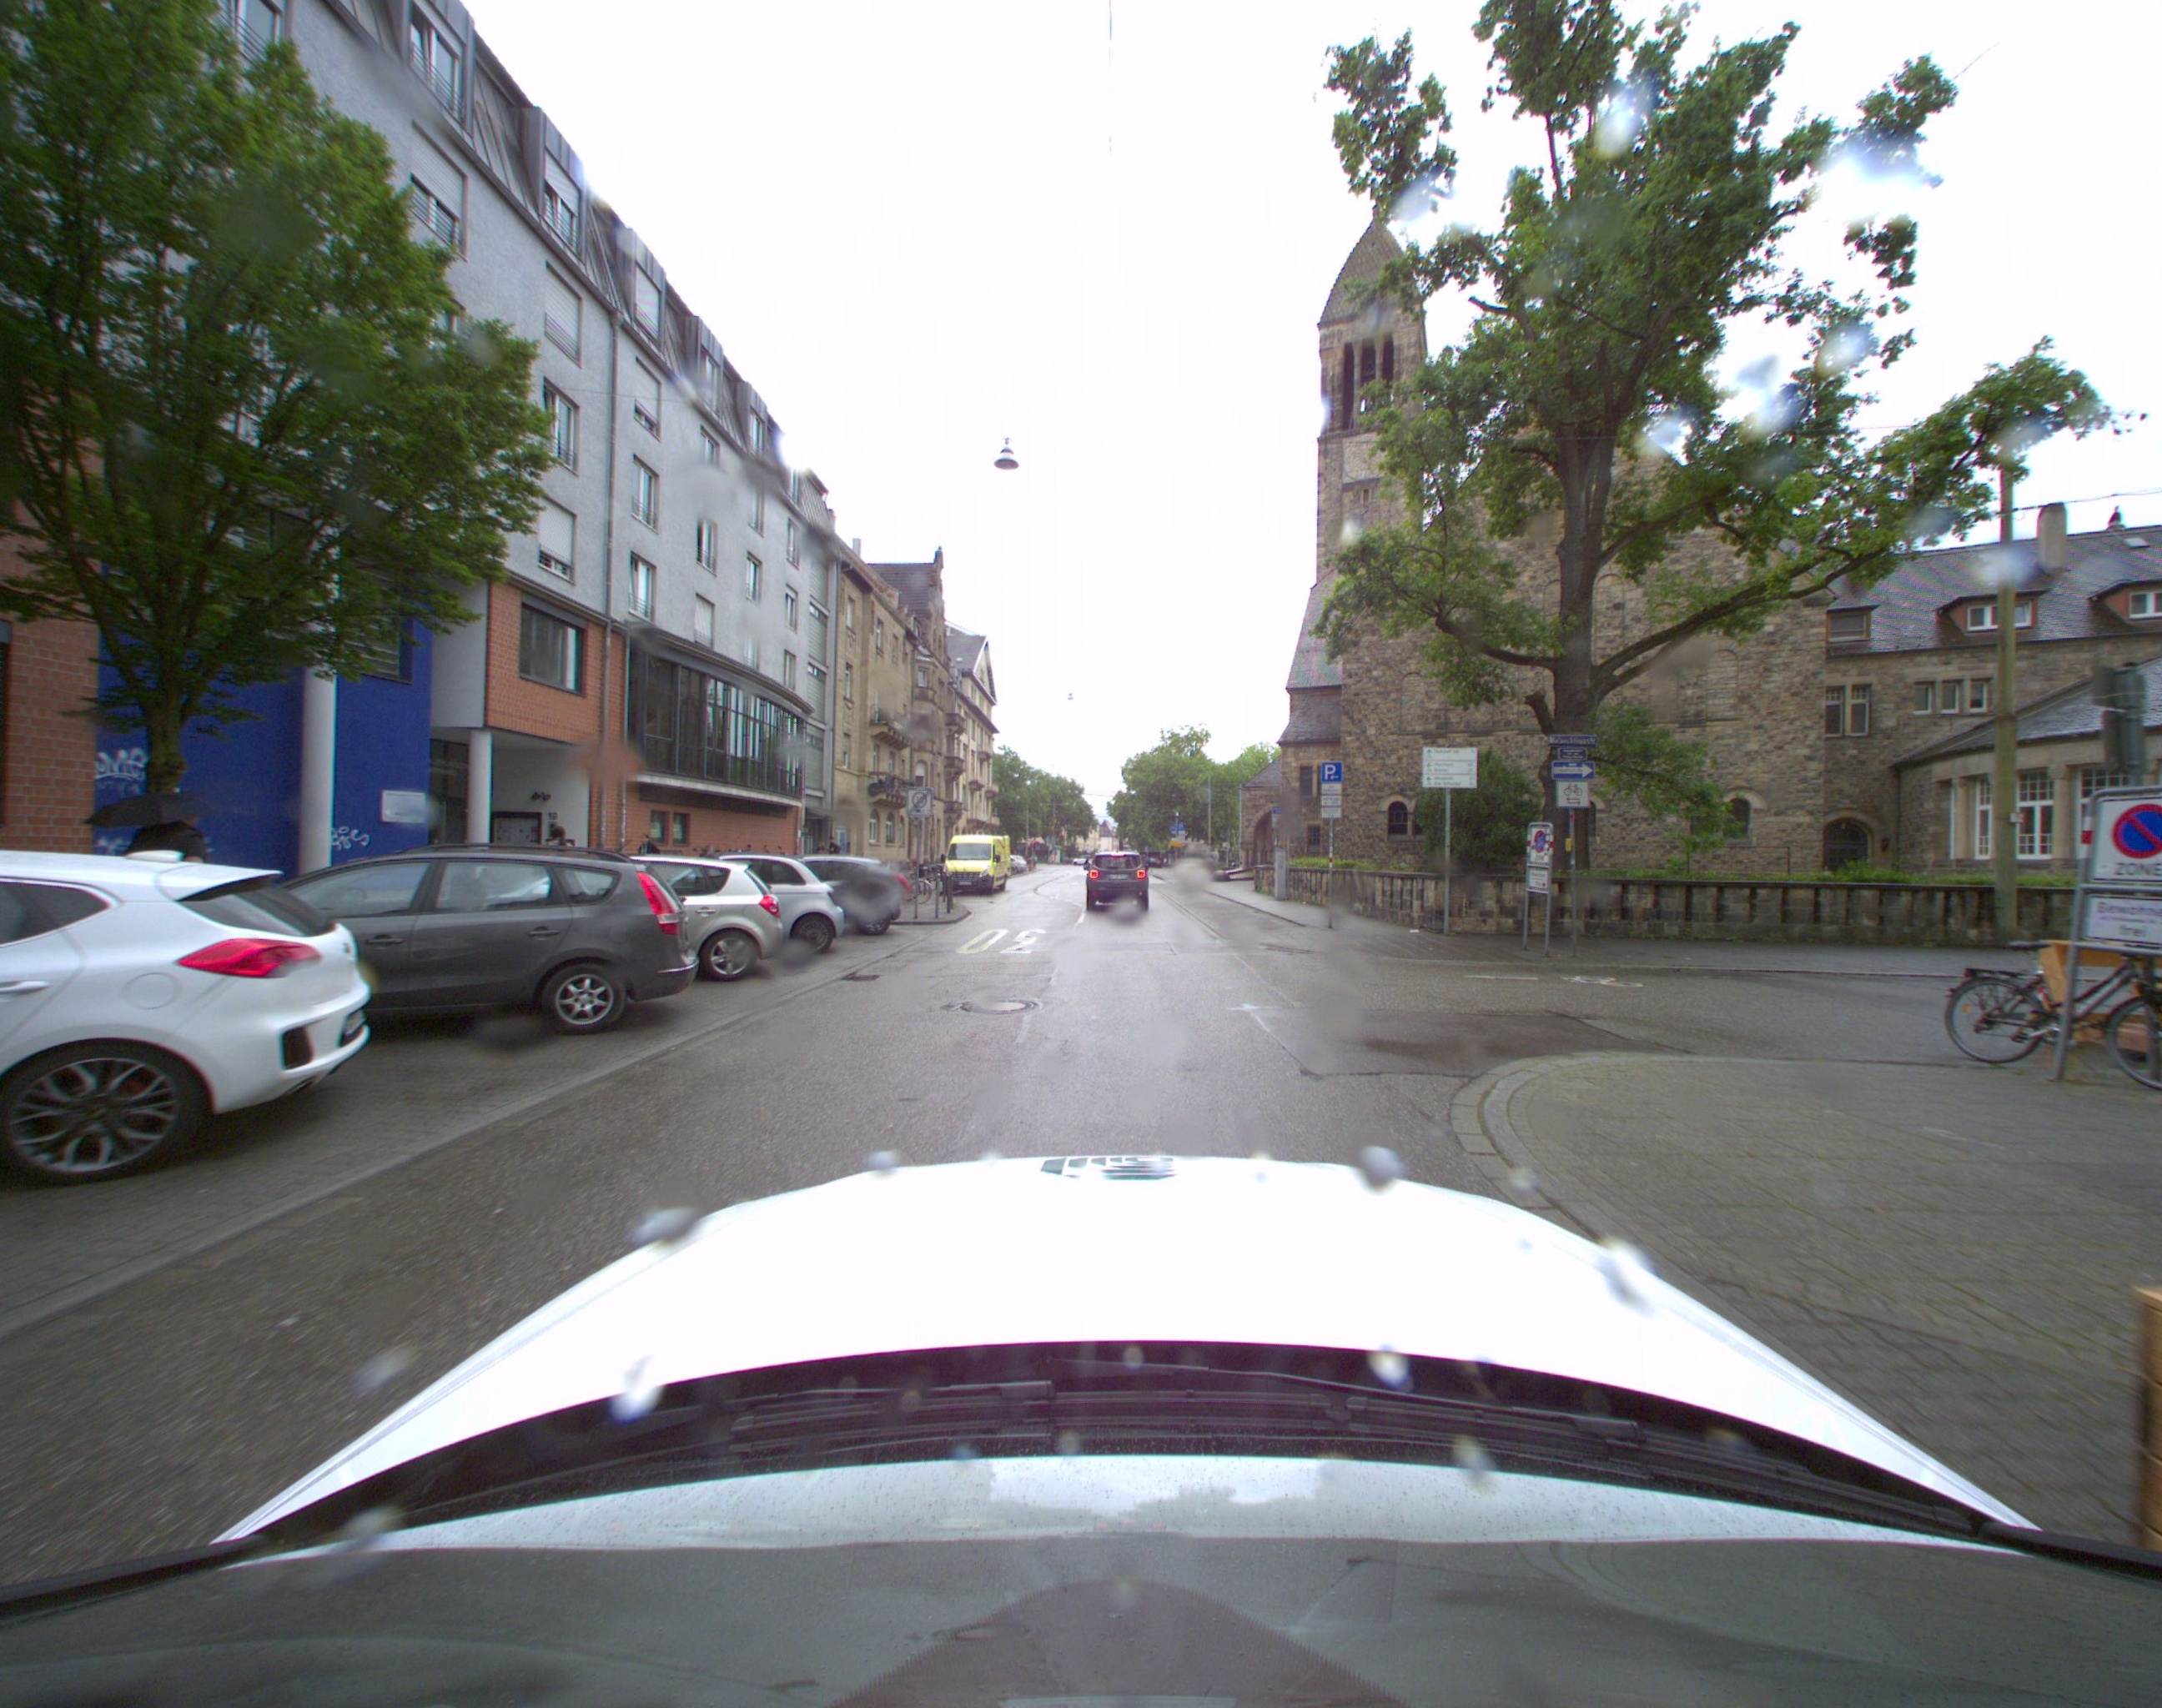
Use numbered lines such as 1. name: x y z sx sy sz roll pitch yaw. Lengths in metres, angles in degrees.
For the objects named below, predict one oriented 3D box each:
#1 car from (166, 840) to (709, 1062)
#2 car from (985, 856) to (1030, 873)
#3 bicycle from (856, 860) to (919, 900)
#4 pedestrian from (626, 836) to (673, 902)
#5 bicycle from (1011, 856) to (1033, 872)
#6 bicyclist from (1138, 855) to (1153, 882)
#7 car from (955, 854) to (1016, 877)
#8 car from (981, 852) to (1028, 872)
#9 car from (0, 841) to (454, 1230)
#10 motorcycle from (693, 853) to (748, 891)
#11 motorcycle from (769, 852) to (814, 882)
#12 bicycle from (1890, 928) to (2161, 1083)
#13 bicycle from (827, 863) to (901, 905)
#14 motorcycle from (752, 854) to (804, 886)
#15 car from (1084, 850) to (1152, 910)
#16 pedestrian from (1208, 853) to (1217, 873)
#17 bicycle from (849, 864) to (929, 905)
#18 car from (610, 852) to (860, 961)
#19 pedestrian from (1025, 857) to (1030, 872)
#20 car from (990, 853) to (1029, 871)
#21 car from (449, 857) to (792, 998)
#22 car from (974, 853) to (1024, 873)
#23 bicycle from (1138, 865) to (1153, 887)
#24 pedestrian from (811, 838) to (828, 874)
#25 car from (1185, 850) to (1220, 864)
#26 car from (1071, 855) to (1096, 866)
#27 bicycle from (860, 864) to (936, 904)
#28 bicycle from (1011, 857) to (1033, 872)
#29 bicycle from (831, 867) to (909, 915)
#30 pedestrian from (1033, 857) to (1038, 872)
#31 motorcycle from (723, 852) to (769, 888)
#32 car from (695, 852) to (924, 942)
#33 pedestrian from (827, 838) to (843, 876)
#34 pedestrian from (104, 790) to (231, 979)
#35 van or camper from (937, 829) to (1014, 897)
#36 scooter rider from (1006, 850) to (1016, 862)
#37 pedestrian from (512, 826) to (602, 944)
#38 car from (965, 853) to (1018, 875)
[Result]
1. car: -5.236 0.705 7.212 3.396 1.542 1.665 1 -1 -29
2. car: -6.255 0.916 69.488 3.435 1.316 1.762 2 -1 -32
3. bicycle: -6.156 0.838 25.954 1.819 1.213 0.625 3 -2 -34
4. pedestrian: -10.480 0.355 19.785 0.705 1.551 0.609 3 0 8
5. bicycle: -5.704 0.968 78.901 2.115 1.444 0.536 0 0 -19
6. bicyclist: 3.313 0.730 41.964 0.702 1.403 1.172 0 0 2
7. car: -6.727 0.796 57.509 3.872 1.479 1.864 3 -1 -39
8. car: -6.794 0.709 72.127 3.754 1.559 1.655 2 -1 -32
9. car: -5.937 0.672 3.699 4.539 1.539 2.315 5 -3 -31
10. motorcycle: -11.928 0.571 27.031 0.750 1.174 2.117 3 0 3
11. motorcycle: -11.729 0.539 33.102 0.566 1.174 1.790 3 0 25
12. bicycle: 7.541 1.110 6.415 0.450 0.979 1.920 1 -3 2
13. bicycle: -6.109 0.837 23.004 1.906 1.097 0.507 2 0 2
14. motorcycle: -11.618 0.607 31.301 0.748 1.174 2.123 3 0 14
15. car: 1.057 0.736 24.723 1.892 1.671 4.506 0 0 1
16. pedestrian: 11.179 0.777 69.452 0.688 1.711 0.684 0 0 2
17. bicycle: -5.548 0.875 23.587 2.124 1.097 0.594 2 0 2
18. car: -5.375 0.757 12.767 3.395 1.507 1.665 1 -1 -29
19. pedestrian: -5.679 1.111 86.812 0.466 1.585 0.659 0 0 1
20. car: -6.598 0.786 75.428 3.266 1.559 1.520 2 -1 -32
21. car: -5.535 0.800 10.080 3.398 1.458 1.664 1 -1 -32
22. car: -6.682 0.768 66.385 3.519 1.518 1.867 2 -1 -32
23. bicycle: 3.311 1.118 41.960 0.702 1.054 1.814 0 0 2
24. pedestrian: -12.206 0.099 38.008 0.663 1.675 0.791 0 0 -22
25. car: 20.910 0.456 140.503 5.875 2.334 2.063 0 0 5
26. car: 0.405 0.931 115.830 3.161 1.501 1.549 -1 0 19
27. bicycle: -5.480 0.898 24.411 2.108 1.097 0.594 2 0 2
28. bicycle: -5.809 1.004 79.896 2.098 1.444 0.487 0 0 -19
29. bicycle: -5.126 0.895 19.847 1.718 1.097 0.506 2 0 -4
30. pedestrian: -4.868 1.149 87.458 0.466 1.585 0.752 0 0 1
31. motorcycle: -11.968 0.554 29.185 0.751 1.174 2.114 3 0 -2
32. car: -5.169 0.766 15.548 3.841 1.507 1.971 1 -1 -29
33. pedestrian: -11.577 0.155 38.262 0.663 1.757 0.791 0 0 -22
34. pedestrian: -8.546 0.280 7.636 0.609 1.707 0.433 1 -2 2
35. van or camper: -4.410 0.488 35.208 2.113 2.531 6.876 -3 -2 2
36. scooter rider: -7.273 0.202 84.579 0.877 1.220 0.984 1 -2 2
37. pedestrian: -8.207 0.474 12.784 0.820 1.752 0.759 3 0 8
38. car: -6.951 0.799 63.190 3.680 1.559 1.790 2 -1 -35
